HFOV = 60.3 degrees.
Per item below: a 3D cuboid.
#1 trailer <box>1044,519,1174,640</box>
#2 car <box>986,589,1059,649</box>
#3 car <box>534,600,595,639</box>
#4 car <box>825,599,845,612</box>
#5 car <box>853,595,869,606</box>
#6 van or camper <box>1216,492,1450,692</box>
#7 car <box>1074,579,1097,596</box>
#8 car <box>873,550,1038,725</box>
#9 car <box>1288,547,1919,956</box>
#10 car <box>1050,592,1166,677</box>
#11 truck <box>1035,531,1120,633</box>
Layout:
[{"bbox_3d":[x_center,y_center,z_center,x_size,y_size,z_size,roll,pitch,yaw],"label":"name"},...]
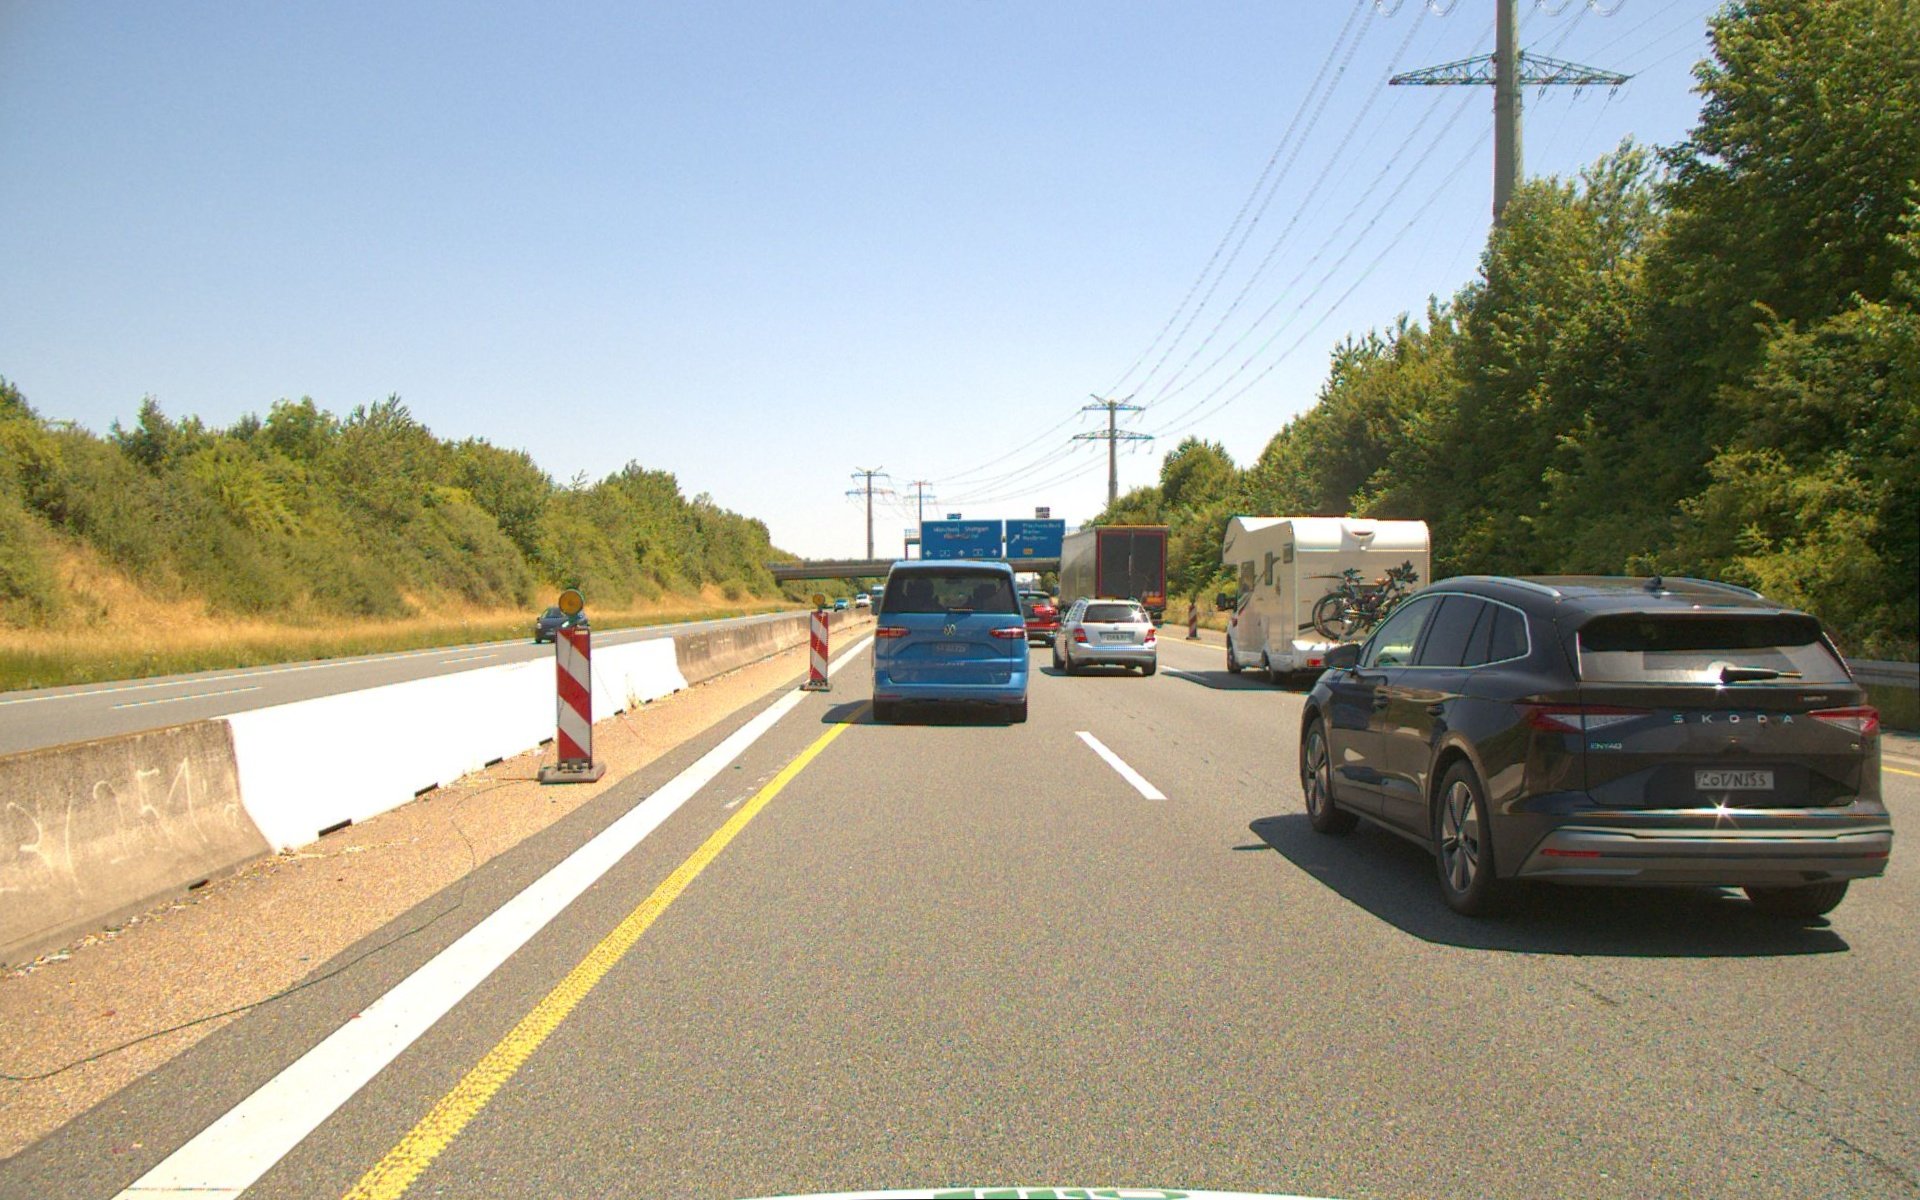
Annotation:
[{"bbox_3d":[5.489,-0.711,63.653,2.729,4.118,13.099,1,0,-5],"label":"trailer"},{"bbox_3d":[1.834,0.537,49.662,1.837,1.700,4.358,1,0,-2],"label":"car"},{"bbox_3d":[-16.284,0.791,68.179,1.674,1.490,3.848,-2,0,-2],"label":"car"},{"bbox_3d":[-14.637,0.634,193.975,1.953,1.422,4.000,-2,0,0],"label":"car"},{"bbox_3d":[-14.012,0.085,233.526,1.953,1.422,4.000,-2,0,0],"label":"car"},{"bbox_3d":[6.453,-0.125,29.789,2.321,3.096,7.631,1,0,-1],"label":"van or camper"},{"bbox_3d":[13.234,-1.293,174.384,1.837,1.700,4.358,1,0,-2],"label":"car"},{"bbox_3d":[-0.135,0.428,20.879,1.837,1.945,4.358,1,0,-2],"label":"car"},{"bbox_3d":[3.176,0.636,9.124,1.667,1.684,4.427,1,0,-2],"label":"car"},{"bbox_3d":[2.859,0.634,32.867,1.735,1.544,4.358,1,0,-2],"label":"car"},{"bbox_3d":[4.936,-0.741,70.564,2.680,4.118,5.787,1,0,-5],"label":"truck"}]
